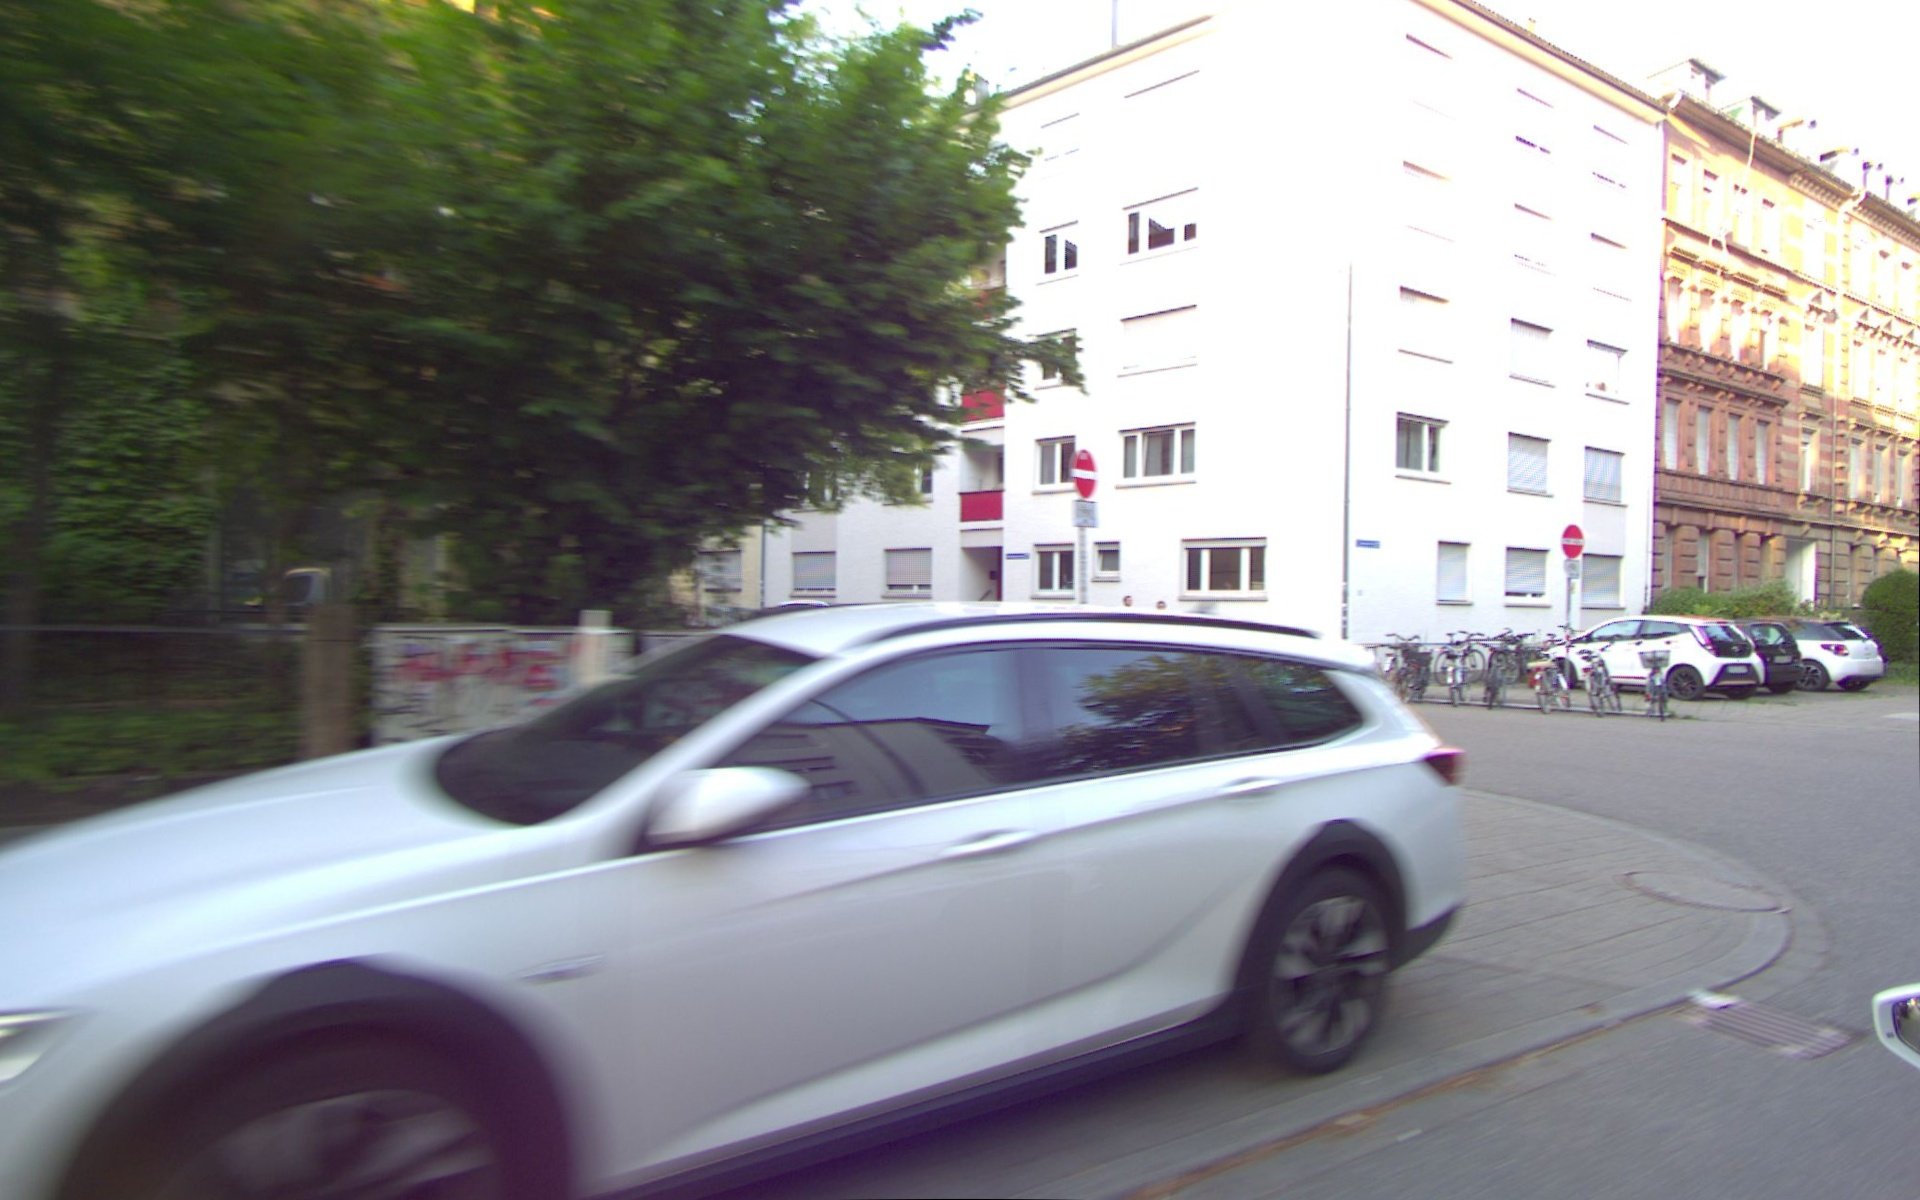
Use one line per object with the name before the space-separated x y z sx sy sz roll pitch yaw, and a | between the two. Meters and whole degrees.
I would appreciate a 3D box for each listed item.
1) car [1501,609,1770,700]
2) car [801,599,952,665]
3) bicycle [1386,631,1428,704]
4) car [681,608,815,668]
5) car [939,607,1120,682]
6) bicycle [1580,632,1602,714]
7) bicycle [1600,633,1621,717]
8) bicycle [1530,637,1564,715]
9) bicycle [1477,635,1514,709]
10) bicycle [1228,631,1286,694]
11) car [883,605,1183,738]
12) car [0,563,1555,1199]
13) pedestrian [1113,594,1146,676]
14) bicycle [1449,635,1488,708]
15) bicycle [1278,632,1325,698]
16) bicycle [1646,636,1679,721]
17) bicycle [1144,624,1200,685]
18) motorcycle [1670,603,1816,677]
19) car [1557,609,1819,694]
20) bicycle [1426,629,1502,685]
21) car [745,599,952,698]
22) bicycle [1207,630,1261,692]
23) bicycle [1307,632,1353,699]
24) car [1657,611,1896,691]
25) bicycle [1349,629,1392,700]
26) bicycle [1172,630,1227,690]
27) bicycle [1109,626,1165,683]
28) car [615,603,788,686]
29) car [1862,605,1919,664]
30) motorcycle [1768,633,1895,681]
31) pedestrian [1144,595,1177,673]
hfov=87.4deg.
car | 12.742 0.942 19.267 1.683 1.467 4.086 0 1 -21
car | -2.147 0.783 25.339 3.664 1.472 1.683 1 -4 41
bicycle | 7.784 1.149 17.478 0.361 1.167 1.846 1 0 33
car | -6.213 1.041 29.217 3.941 1.576 1.833 1 0 41
car | 1.531 0.972 22.546 3.654 1.492 1.793 1 -3 37
bicycle | 9.854 1.107 15.676 0.239 1.197 1.674 1 0 33
bicycle | 10.061 1.122 15.528 0.239 1.197 1.674 1 0 33
bicycle | 9.360 1.174 15.986 0.361 1.124 1.846 1 0 33
bicycle | 8.838 1.156 16.564 0.361 1.124 1.846 1 0 33
bicycle | 5.726 1.173 19.308 0.395 1.131 1.843 1 0 39
car | 0.859 0.865 14.211 1.694 1.573 4.416 -1 0 -39
car | -0.229 0.718 3.284 4.683 1.522 1.681 0 3 -31
pedestrian | 3.810 0.769 22.566 0.494 1.789 0.621 2 5 38
bicycle | 8.611 1.179 16.984 0.361 1.124 1.846 1 0 33
bicycle | 6.409 1.189 18.796 0.361 1.131 1.846 1 0 33
bicycle | 10.589 1.154 15.162 0.332 1.197 1.873 1 -1 33
bicycle | 4.347 1.092 20.512 0.361 1.181 1.845 1 0 37
motorcycle | 18.880 0.917 24.332 0.665 1.660 2.847 1 0 -21
car | 14.742 0.964 20.637 1.789 1.467 4.087 0 1 -19
bicycle | 10.152 1.126 20.217 1.855 1.076 0.394 1 0 -30
car | -2.114 0.819 18.138 1.696 1.572 4.057 3 -2 -41
bicycle | 5.360 1.159 19.604 0.361 1.120 1.845 1 0 37
bicycle | 6.754 1.161 18.306 0.361 1.131 1.846 1 0 33
car | 17.280 1.007 21.457 1.790 1.467 3.557 0 1 -21
bicycle | 7.301 1.106 17.829 0.361 1.167 1.846 1 0 33
bicycle | 4.824 1.172 20.141 0.361 1.120 1.845 1 0 37
bicycle | 3.724 1.116 20.992 0.361 1.120 1.845 1 0 37
car | -5.523 0.905 21.235 3.819 1.572 1.700 0 -2 42
car | 27.684 1.049 27.497 1.689 1.548 4.071 1 3 -31
motorcycle | 20.240 1.308 23.401 0.578 0.971 2.232 1 0 -20
pedestrian | 4.531 0.747 22.720 0.528 1.706 0.579 2 4 40
